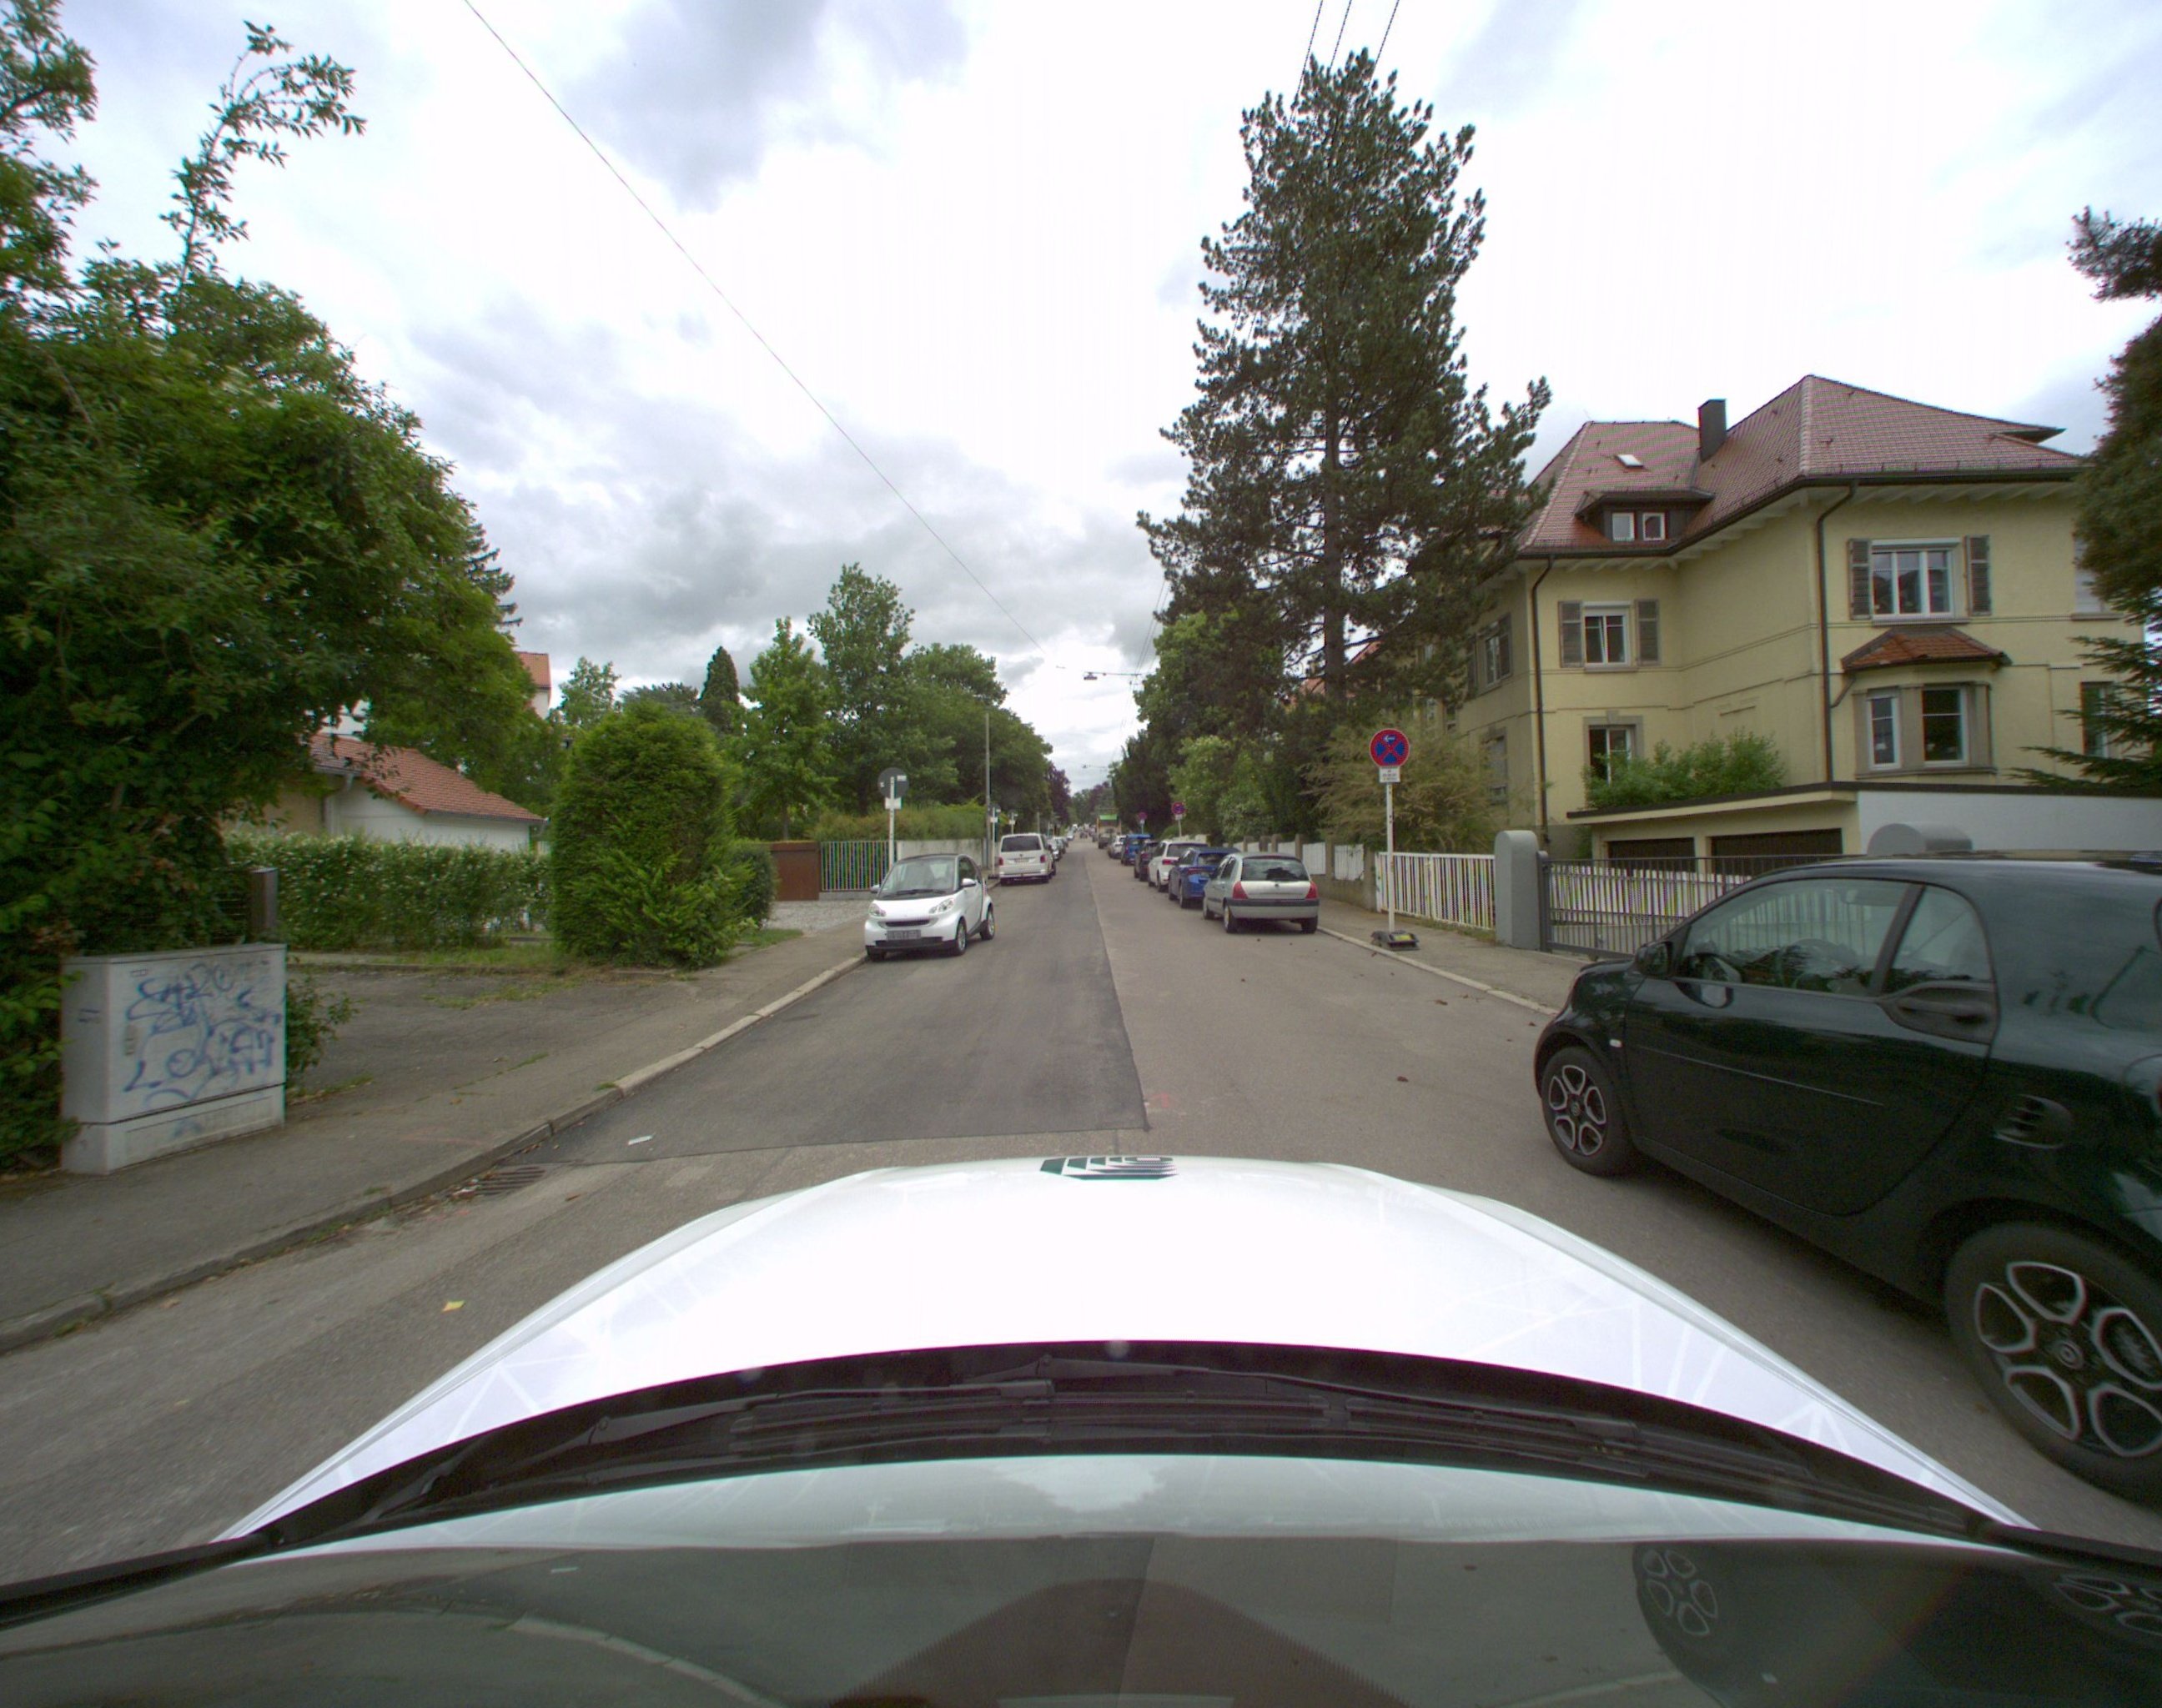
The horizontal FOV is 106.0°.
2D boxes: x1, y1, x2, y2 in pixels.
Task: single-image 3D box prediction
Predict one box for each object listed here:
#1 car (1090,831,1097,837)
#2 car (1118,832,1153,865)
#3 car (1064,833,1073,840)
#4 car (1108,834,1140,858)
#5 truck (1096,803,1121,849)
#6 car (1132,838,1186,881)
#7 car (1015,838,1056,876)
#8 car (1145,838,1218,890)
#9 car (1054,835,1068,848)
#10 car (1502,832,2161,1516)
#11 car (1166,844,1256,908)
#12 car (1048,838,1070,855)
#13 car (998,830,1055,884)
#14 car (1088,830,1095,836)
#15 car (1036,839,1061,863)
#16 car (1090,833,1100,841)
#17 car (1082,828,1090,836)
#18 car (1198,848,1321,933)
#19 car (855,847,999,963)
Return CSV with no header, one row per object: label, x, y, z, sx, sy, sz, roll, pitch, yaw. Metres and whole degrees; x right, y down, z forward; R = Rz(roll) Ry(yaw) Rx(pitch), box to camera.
car,3.079,-4.934,202.035,1.805,1.335,3.631,0,3,-1
car,3.120,-0.359,47.176,1.677,1.829,4.156,0,2,-1
car,-2.772,-3.792,178.259,1.704,1.585,4.003,-1,1,3
car,3.032,-0.583,58.128,1.754,1.605,4.570,-1,1,-4
truck,2.955,-3.054,88.704,2.516,4.747,7.188,-1,1,1
car,3.079,0.185,32.775,1.744,1.608,4.075,0,1,0
car,-2.142,0.077,38.988,1.786,1.623,4.340,-3,1,-2
car,3.235,0.262,26.956,1.780,1.603,4.302,0,1,-1
car,-2.456,-1.568,102.245,1.632,1.395,3.987,-4,2,-1
car,3.165,0.706,3.074,1.568,1.532,2.865,1,1,-3
car,3.168,0.478,20.556,1.642,1.458,4.052,0,1,0
car,-1.980,-0.715,75.224,1.634,1.422,4.552,-4,1,2
car,-2.125,0.078,32.935,1.848,1.913,4.619,-4,1,0
car,2.705,-5.371,210.921,1.783,1.529,3.736,-1,2,1
car,-2.297,-0.225,57.380,1.618,1.533,2.959,-4,2,-3
car,2.774,-3.284,158.389,1.774,1.489,3.999,-2,1,-1
car,1.181,-5.166,190.126,1.629,1.701,3.493,-1,2,-1
car,3.276,0.603,15.566,1.568,1.400,3.655,0,1,0
car,-2.415,0.744,13.380,1.435,1.552,2.775,-5,1,7
